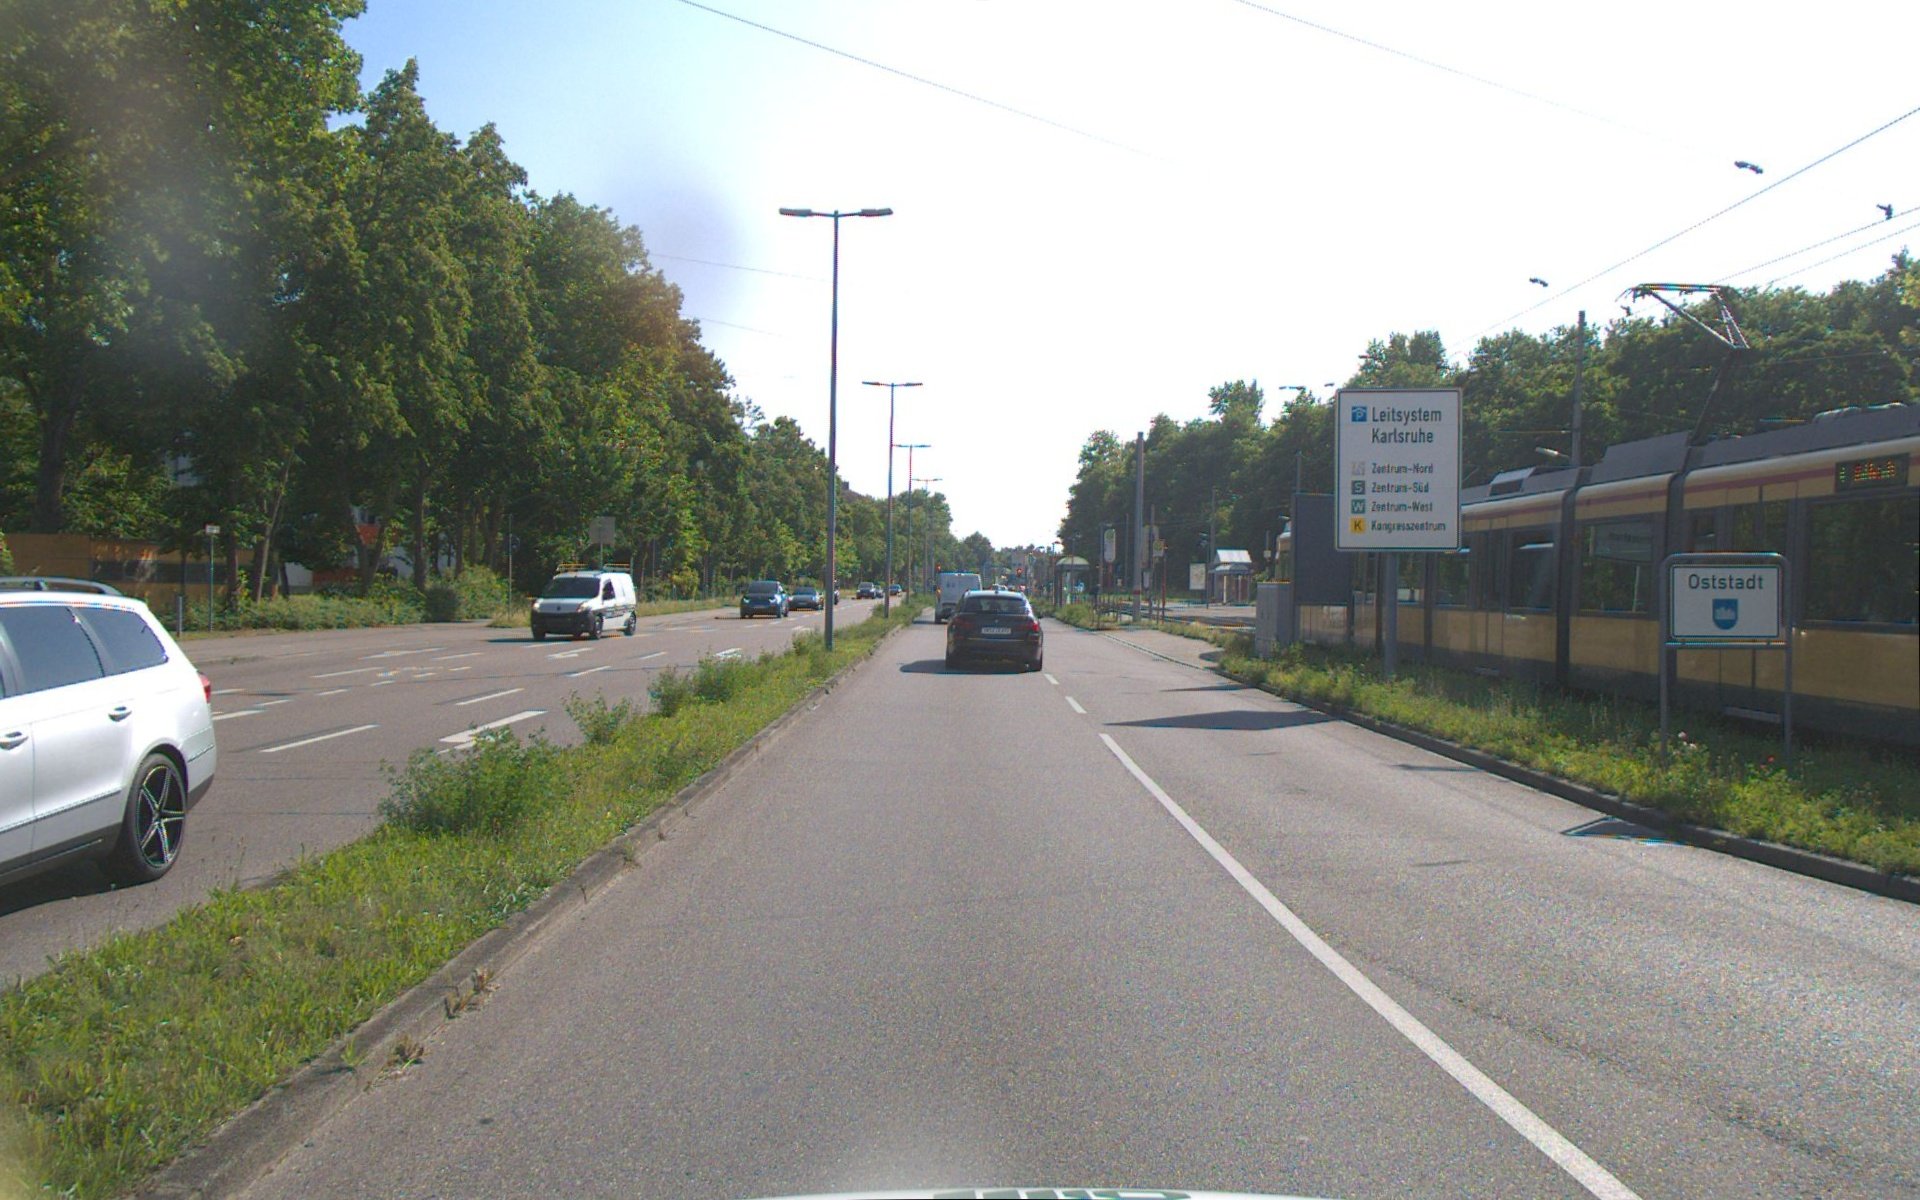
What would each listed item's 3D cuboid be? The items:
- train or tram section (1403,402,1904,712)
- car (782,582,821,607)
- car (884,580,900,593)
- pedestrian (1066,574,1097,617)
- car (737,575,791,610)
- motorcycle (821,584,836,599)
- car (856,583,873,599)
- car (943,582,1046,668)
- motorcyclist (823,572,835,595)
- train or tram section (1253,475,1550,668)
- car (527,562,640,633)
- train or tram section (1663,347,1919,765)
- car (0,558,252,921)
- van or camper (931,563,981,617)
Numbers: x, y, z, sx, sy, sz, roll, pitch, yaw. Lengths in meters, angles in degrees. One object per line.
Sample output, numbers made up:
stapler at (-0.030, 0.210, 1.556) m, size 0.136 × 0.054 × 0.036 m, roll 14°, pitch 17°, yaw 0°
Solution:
train or tram section at (9.783, -0.517, 25.339) m, size 2.694 × 3.616 × 11.254 m, roll 2°, pitch 0°, yaw -1°
car at (-9.021, -0.335, 94.184) m, size 1.752 × 1.351 × 4.736 m, roll 1°, pitch 1°, yaw 0°
car at (-8.237, -1.628, 200.912) m, size 1.812 × 1.579 × 4.000 m, roll 1°, pitch 1°, yaw -1°
pedestrian at (4.831, -0.191, 65.761) m, size 0.981 × 1.663 × 0.719 m, roll 1°, pitch 1°, yaw 34°
car at (-8.551, -0.348, 72.464) m, size 1.752 × 1.440 × 4.387 m, roll 1°, pitch 1°, yaw 1°
motorcycle at (-9.018, -0.567, 113.435) m, size 0.761 × 0.965 × 2.401 m, roll 2°, pitch 0°, yaw 0°
car at (-9.517, -0.878, 164.776) m, size 1.502 × 1.512 × 4.000 m, roll 1°, pitch 1°, yaw -1°
car at (0.676, 0.431, 32.221) m, size 1.864 × 1.532 × 4.066 m, roll 1°, pitch 1°, yaw 1°
motorcyclist at (-9.014, -1.108, 113.417) m, size 0.747 × 1.579 × 0.799 m, roll 1°, pitch 0°, yaw -1°
train or tram section at (9.576, -0.547, 38.405) m, size 2.630 × 3.541 × 14.967 m, roll 2°, pitch 0°, yaw -1°
car at (-10.082, -0.090, 44.644) m, size 1.751 × 1.803 × 4.572 m, roll 0°, pitch 1°, yaw 4°
train or tram section at (9.806, -0.356, 13.305) m, size 2.739 × 3.681 × 12.955 m, roll 2°, pitch 0°, yaw 0°
car at (-4.887, 0.590, 6.885) m, size 1.810 × 1.503 × 4.646 m, roll -1°, pitch 1°, yaw 1°
van or camper at (-0.173, -0.426, 67.939) m, size 1.953 × 2.132 × 4.598 m, roll 1°, pitch 1°, yaw 0°
